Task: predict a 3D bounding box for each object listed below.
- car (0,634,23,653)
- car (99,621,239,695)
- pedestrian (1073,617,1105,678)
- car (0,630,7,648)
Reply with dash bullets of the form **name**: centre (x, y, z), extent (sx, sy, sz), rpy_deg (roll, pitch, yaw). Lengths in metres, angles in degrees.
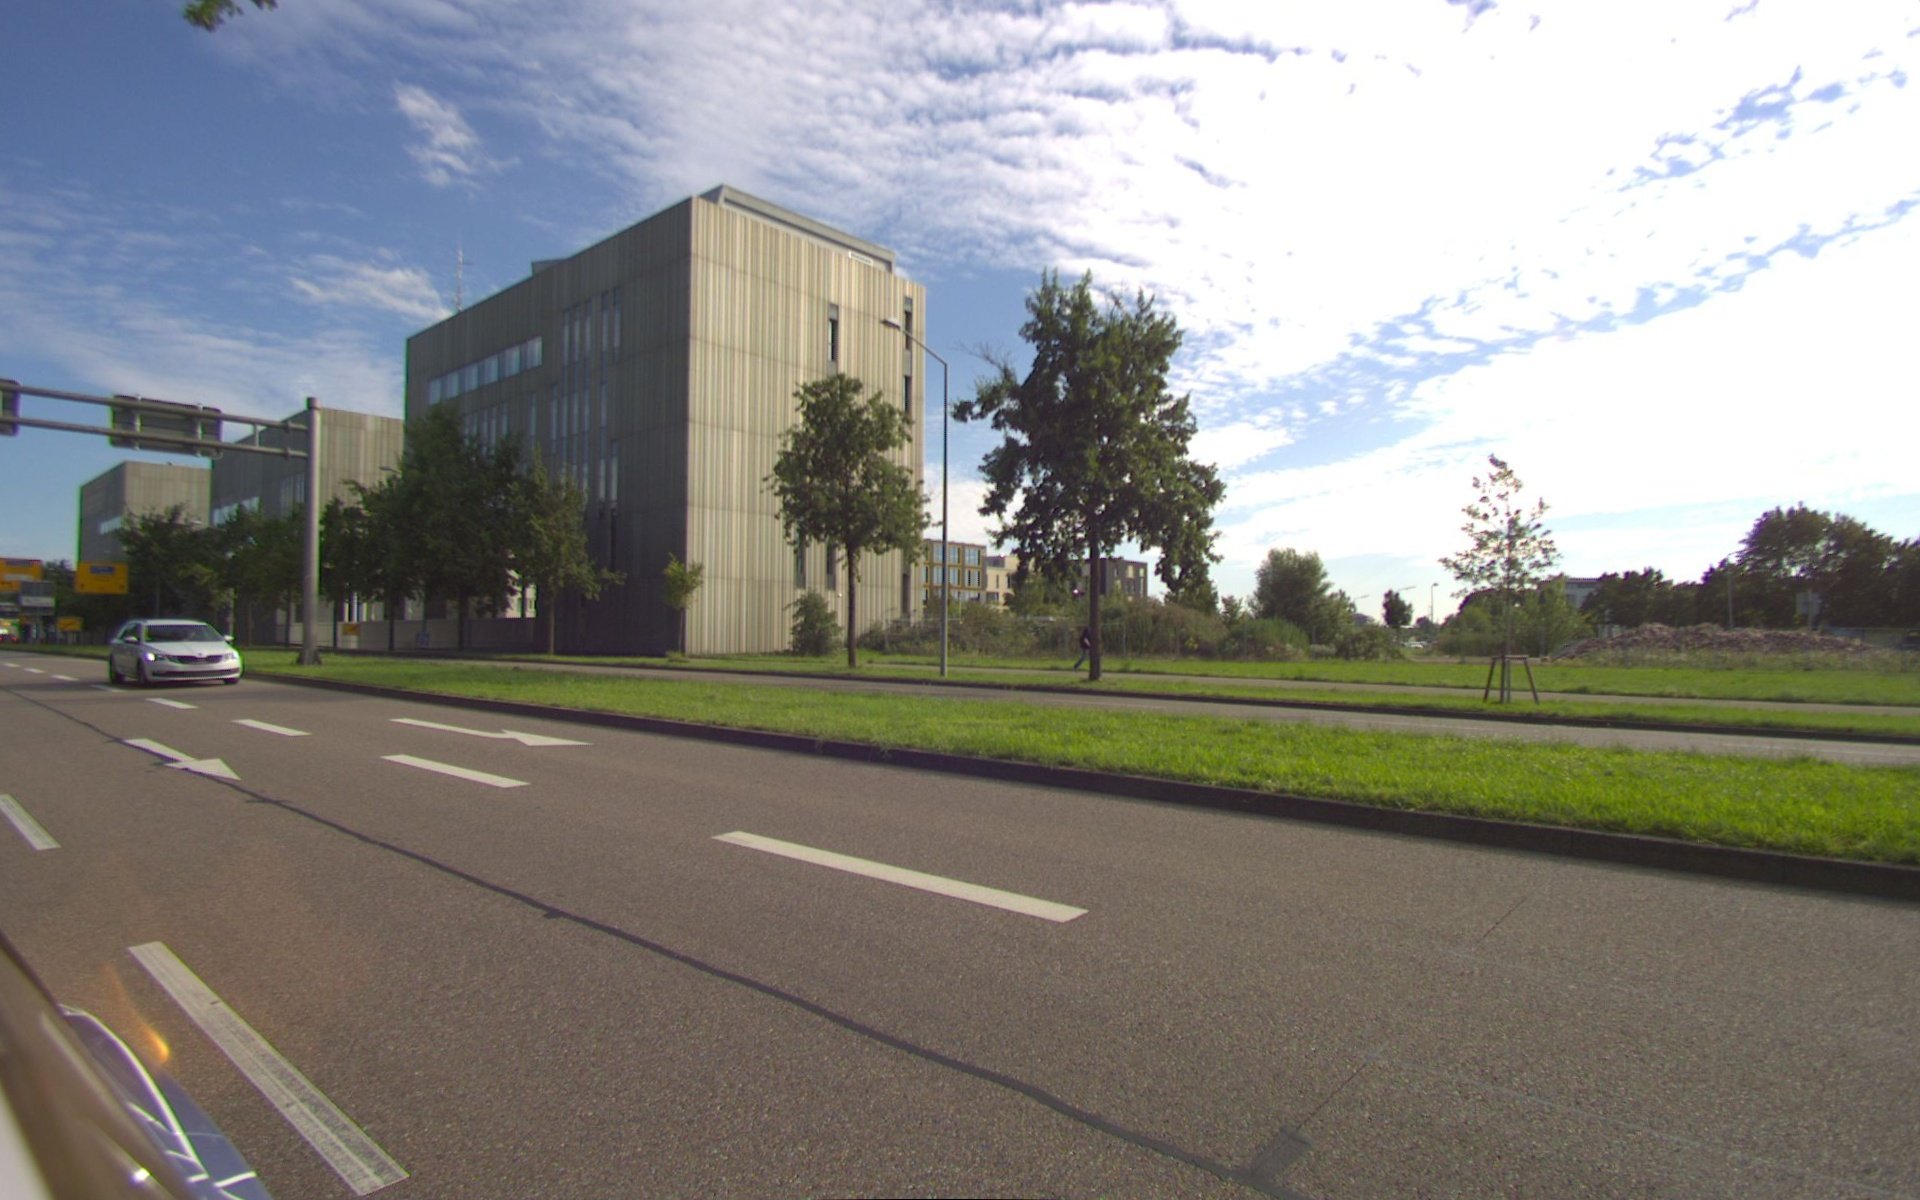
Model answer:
- **car**: centre (-103.233, 4.659, 109.632), extent (3.997, 2.029, 1.973), rpy_deg (-2, -3, 41)
- **car**: centre (-17.961, 1.243, 22.907), extent (4.479, 1.510, 1.681), rpy_deg (-1, -1, 41)
- **pedestrian**: centre (4.335, 1.583, 34.051), extent (0.867, 2.029, 0.667), rpy_deg (-2, -3, 41)
- **car**: centre (-114.409, 4.623, 119.761), extent (3.981, 2.029, 1.973), rpy_deg (-2, -3, 41)
